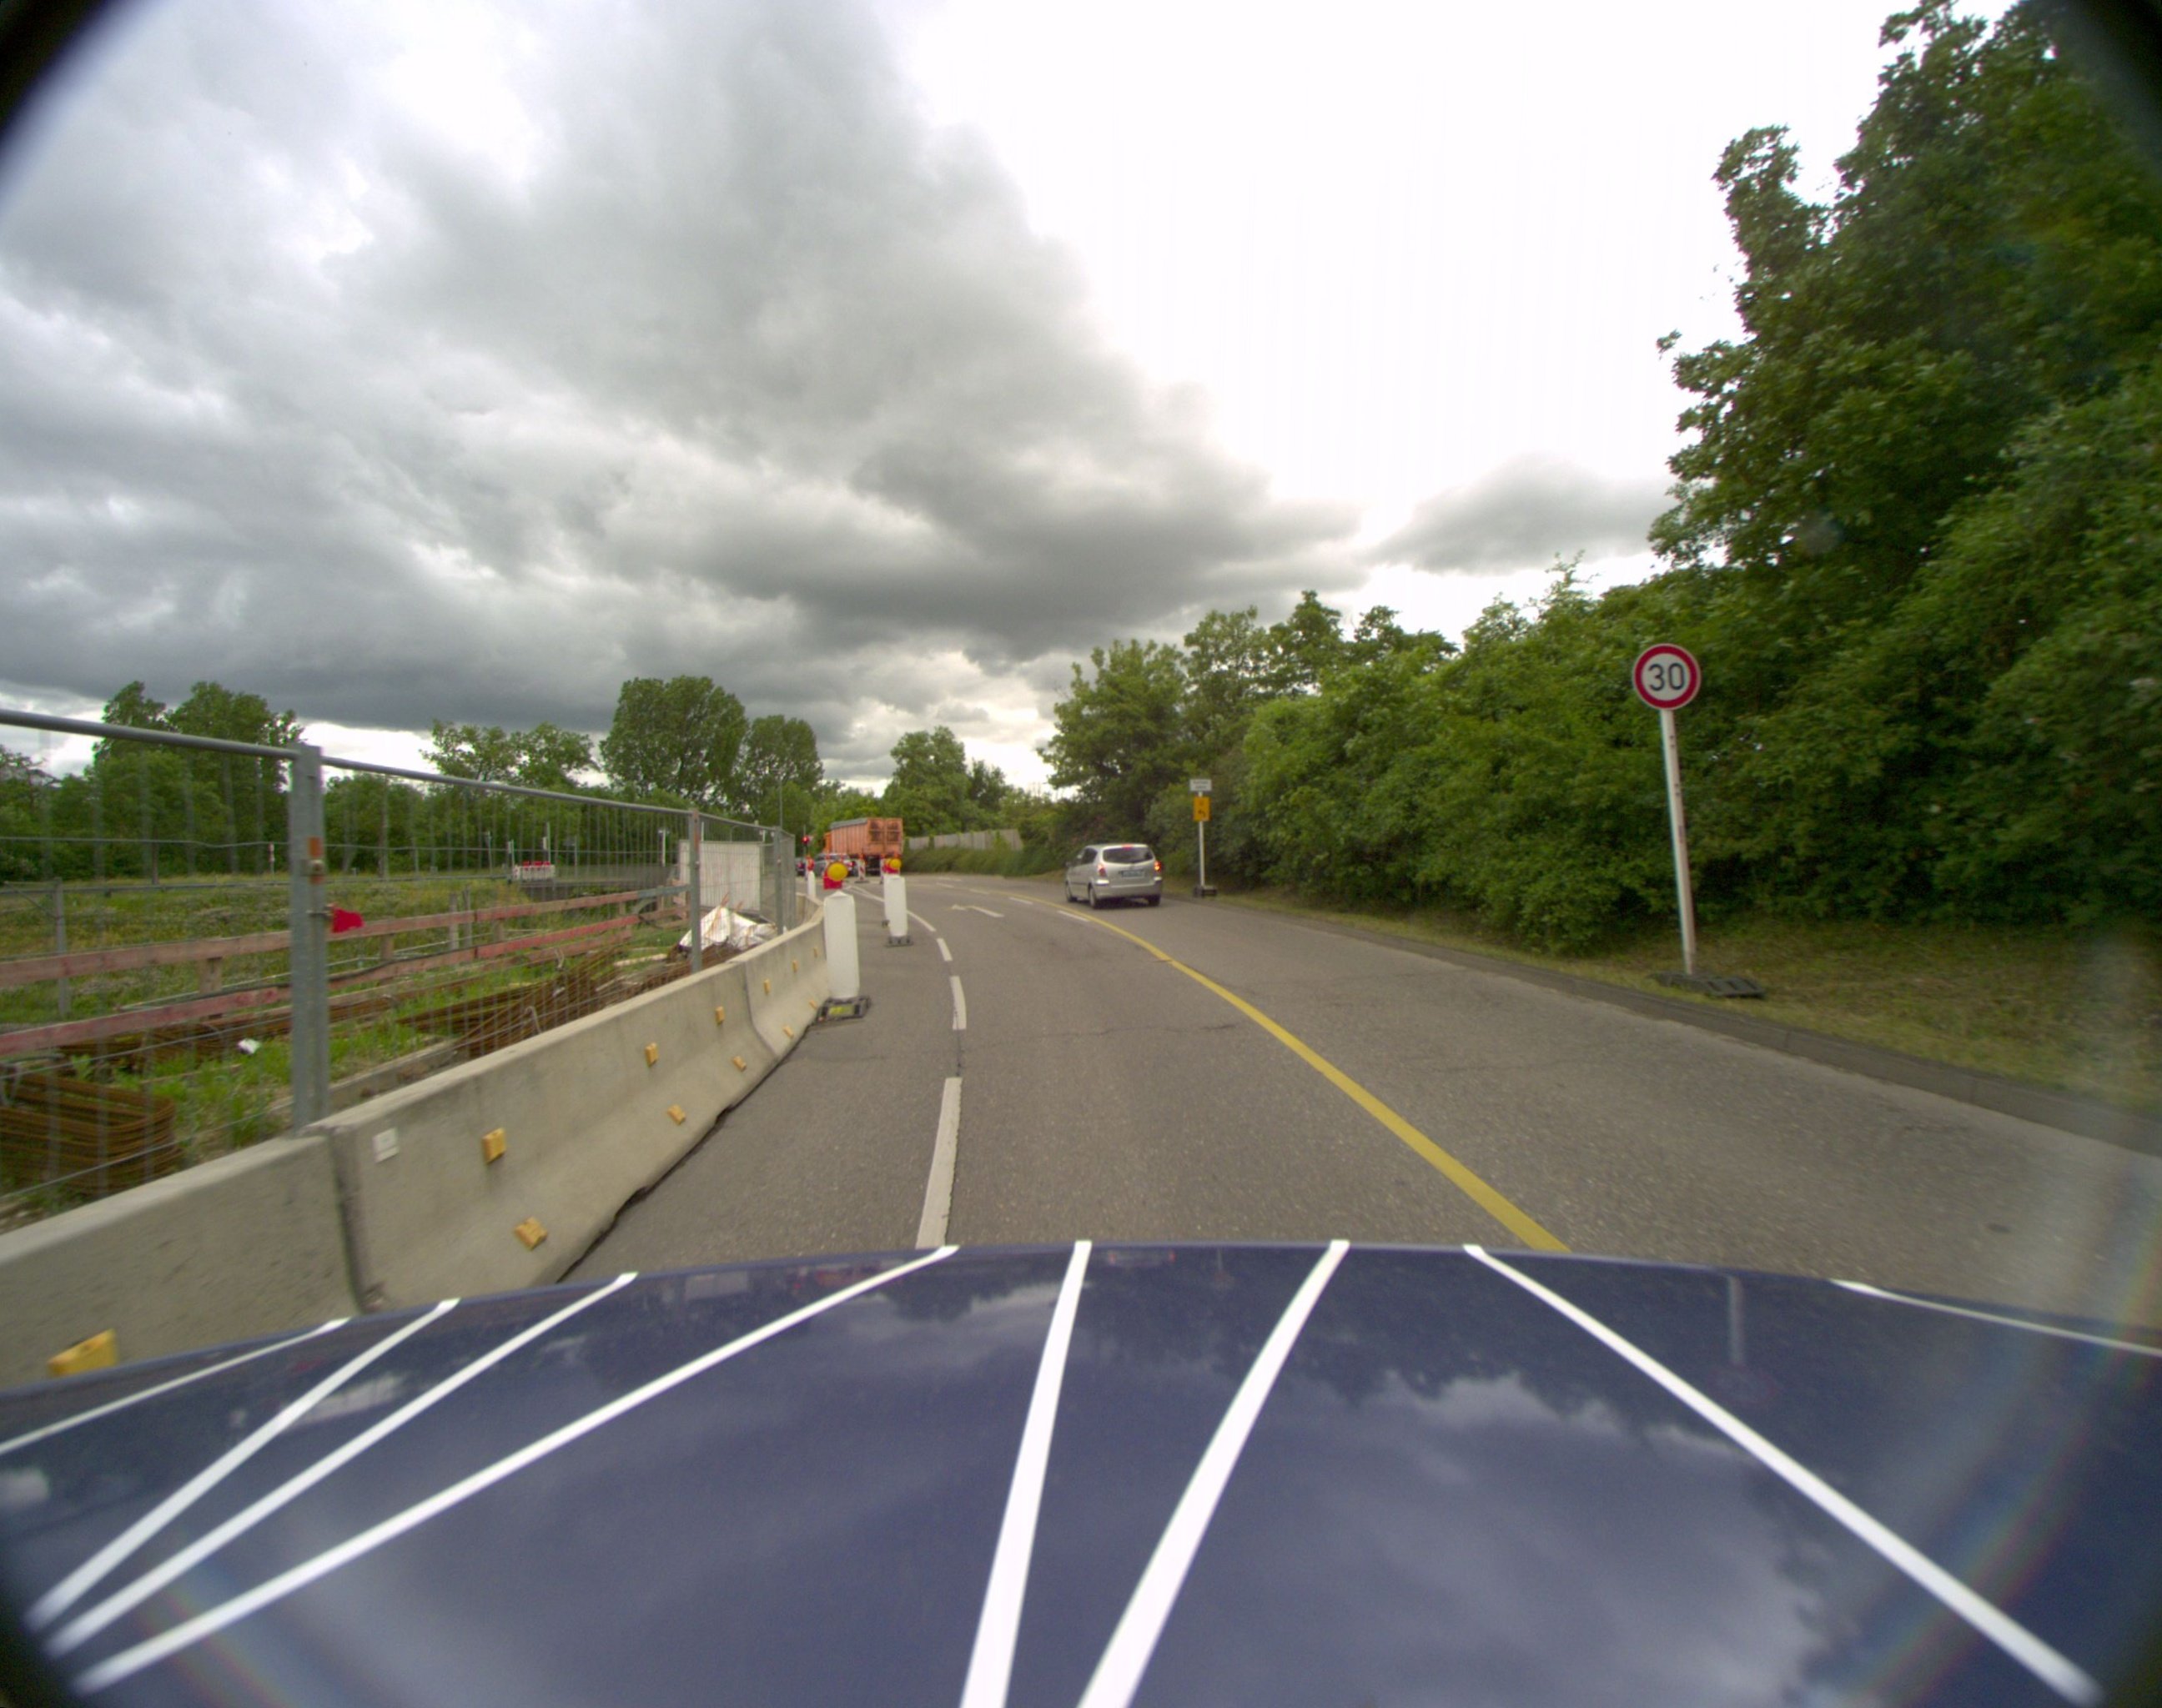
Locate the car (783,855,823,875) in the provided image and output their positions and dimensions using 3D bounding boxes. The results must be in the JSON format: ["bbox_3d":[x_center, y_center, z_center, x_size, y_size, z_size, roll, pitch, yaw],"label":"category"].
[{"bbox_3d":[-22.419,0.884,61.149,1.647,1.542,3.778,1,-2,-44],"label":"car"}]

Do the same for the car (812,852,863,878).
[{"bbox_3d":[-15.742,0.698,49.012,1.640,1.536,4.339,-3,2,-39],"label":"car"}]

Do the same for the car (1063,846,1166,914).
[{"bbox_3d":[0.763,0.607,20.320,1.662,1.543,4.182,-3,1,-13],"label":"car"}]

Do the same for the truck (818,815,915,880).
[{"bbox_3d":[-15.377,-0.410,53.832,3.126,4.196,9.766,-2,1,-37],"label":"truck"}]
